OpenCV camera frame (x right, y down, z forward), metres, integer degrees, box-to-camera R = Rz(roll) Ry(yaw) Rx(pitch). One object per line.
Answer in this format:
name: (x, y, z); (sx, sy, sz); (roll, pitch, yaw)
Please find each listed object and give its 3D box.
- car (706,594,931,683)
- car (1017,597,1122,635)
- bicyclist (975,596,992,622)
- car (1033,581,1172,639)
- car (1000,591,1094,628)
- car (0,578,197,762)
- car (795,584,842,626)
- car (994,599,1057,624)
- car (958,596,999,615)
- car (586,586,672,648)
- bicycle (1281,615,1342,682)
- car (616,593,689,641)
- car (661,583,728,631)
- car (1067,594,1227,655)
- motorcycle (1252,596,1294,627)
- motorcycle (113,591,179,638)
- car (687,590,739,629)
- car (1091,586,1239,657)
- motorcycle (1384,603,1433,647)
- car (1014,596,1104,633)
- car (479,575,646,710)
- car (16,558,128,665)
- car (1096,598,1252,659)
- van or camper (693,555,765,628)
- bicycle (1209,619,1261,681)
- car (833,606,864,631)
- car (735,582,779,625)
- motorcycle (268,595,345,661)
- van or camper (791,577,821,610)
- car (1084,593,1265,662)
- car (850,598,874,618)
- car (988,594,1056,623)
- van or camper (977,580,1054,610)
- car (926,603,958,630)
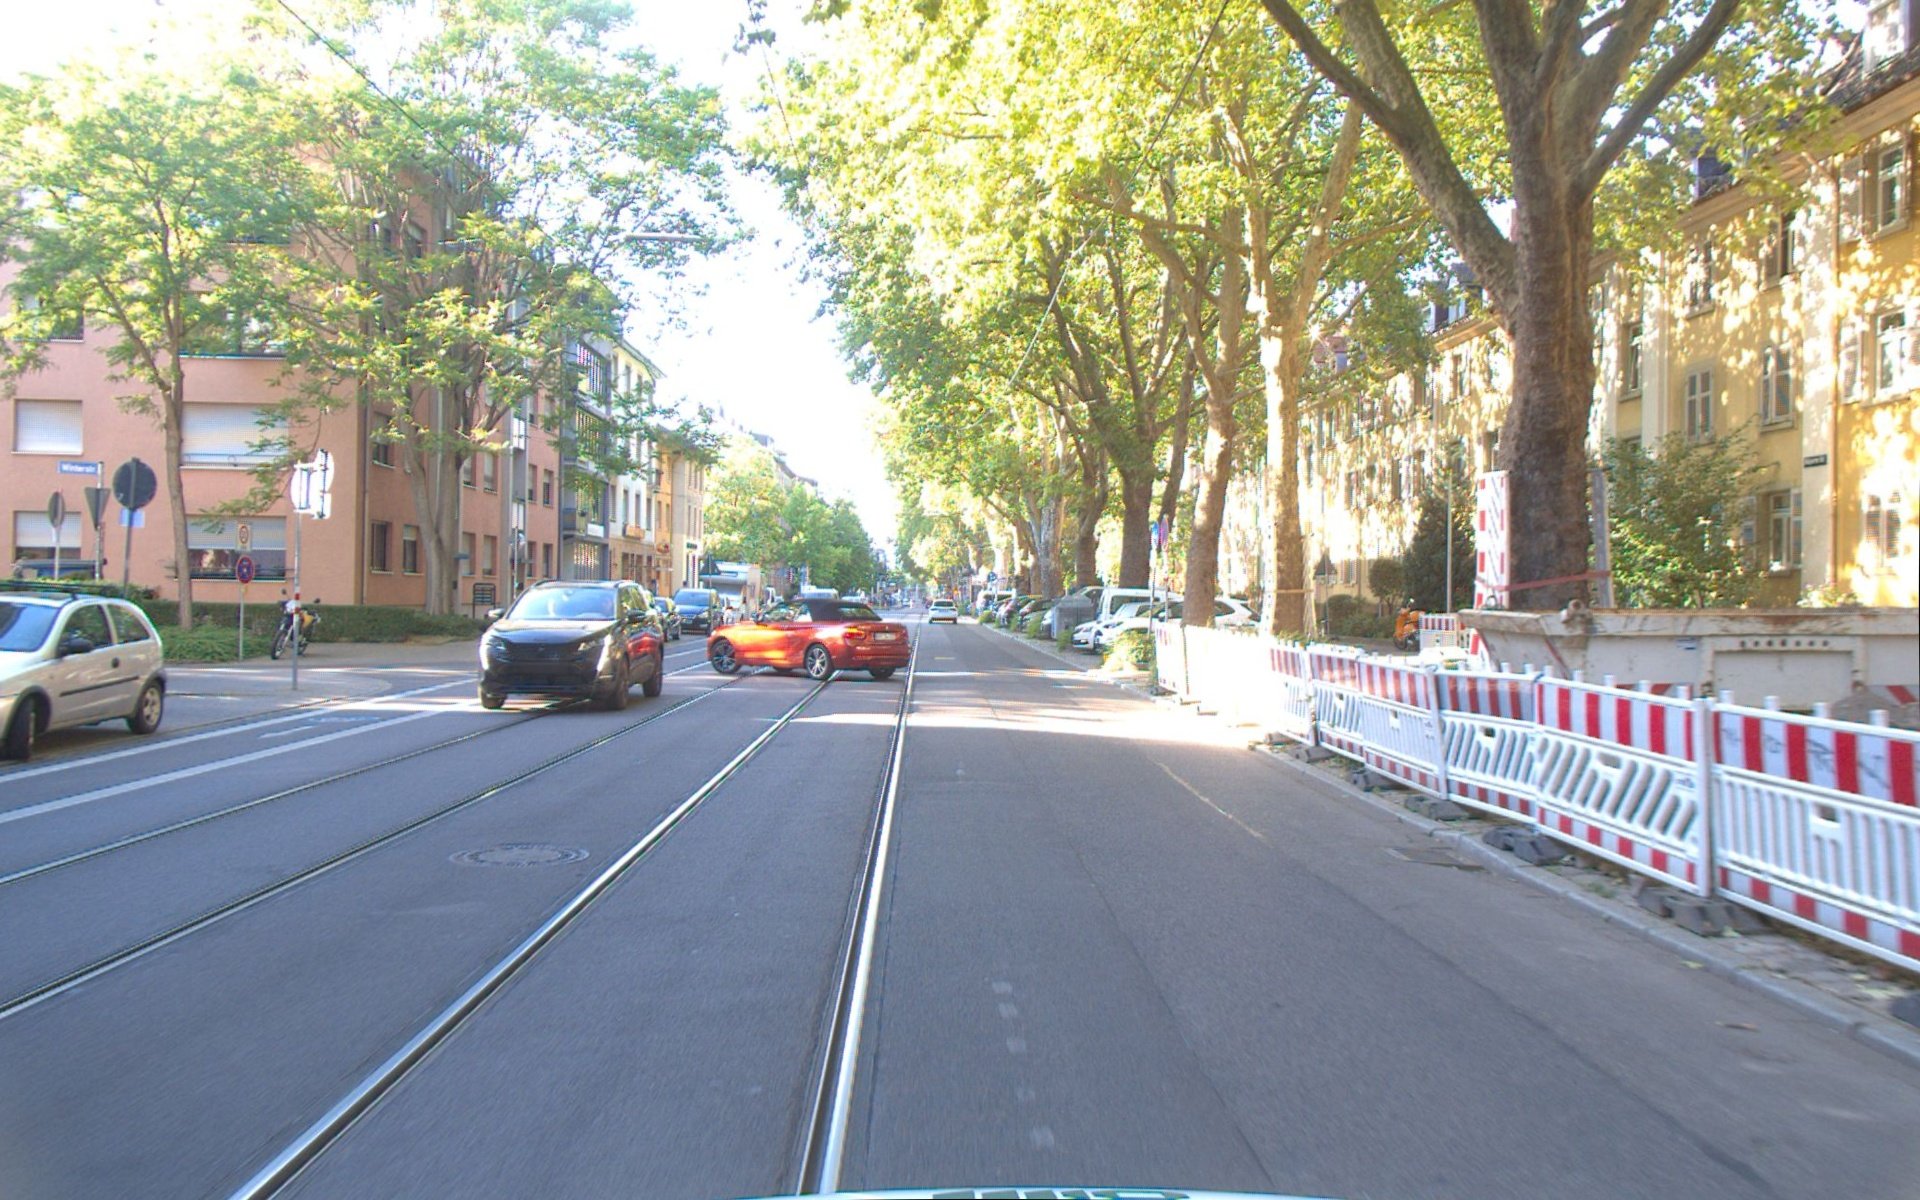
car: (-2.637, 0.653, 30.254); (4.163, 1.413, 1.787); (2, 1, 43)
car: (4.488, 0.655, 68.275); (4.161, 1.509, 1.897); (1, 0, -2)
bicyclist: (1.630, 0.624, 115.662); (1.027, 1.735, 1.055); (1, 0, -11)
car: (5.080, 0.347, 59.388); (4.740, 1.997, 2.063); (1, 0, -4)
car: (4.133, 0.439, 78.632); (4.402, 1.630, 2.028); (-1, 0, 2)
car: (-9.058, 0.577, 15.876); (1.691, 1.509, 3.928); (3, 0, -2)
car: (-6.566, 0.228, 77.076); (1.853, 1.864, 4.894); (1, 0, -2)
car: (3.818, 0.648, 96.539); (3.576, 1.402, 1.889); (1, 0, -1)
car: (1.821, 0.570, 162.817); (3.906, 1.816, 2.000); (1, 0, -1)
car: (-9.894, 0.477, 49.756); (1.745, 1.638, 4.586); (4, 0, -2)
bicycle: (6.505, 0.877, 30.713); (0.676, 1.174, 1.948); (1, 0, -1)
car: (-10.172, 0.537, 54.900); (1.703, 1.425, 4.381); (3, 0, -2)
car: (-10.314, 0.251, 64.515); (1.913, 1.716, 5.068); (3, 0, -2)
car: (5.147, 0.659, 45.920); (4.279, 1.569, 1.802); (1, 1, 2)
motorcycle: (14.473, 0.521, 76.427); (1.768, 1.385, 0.622); (-2, 0, -4)
motorcycle: (-20.739, 0.354, 42.175); (0.680, 1.149, 2.066); (1, 0, -2)
car: (-10.469, 0.384, 70.260); (1.676, 1.514, 3.860); (4, 0, -2)
car: (5.396, 0.554, 43.900); (3.764, 1.803, 1.917); (1, 0, 2)
motorcycle: (12.376, 0.667, 45.727); (0.700, 1.173, 2.263); (0, 0, -1)
car: (4.286, 0.619, 72.178); (3.760, 1.536, 1.710); (1, 0, -2)
car: (-5.243, 0.503, 22.310); (1.819, 1.628, 4.454); (1, 0, -9)
car: (-19.361, 0.242, 36.011); (1.972, 2.160, 4.677); (2, -1, -29)
car: (5.377, 0.715, 41.937); (3.764, 1.458, 1.852); (1, 0, 2)
van or camper: (-10.661, -0.367, 76.764); (2.290, 3.093, 6.396); (4, 0, 0)
bicycle: (5.121, 0.918, 30.904); (0.622, 1.089, 1.808); (1, 0, -1)
car: (-6.813, 1.111, 101.559); (1.740, 1.483, 4.201); (0, 0, -2)
car: (-10.937, 0.167, 89.429); (1.914, 2.127, 5.245); (4, 1, -3)
motorcycle: (-14.327, 0.595, 36.353); (0.884, 1.303, 2.347); (0, 2, -4)
van or camper: (-12.652, -0.525, 136.327); (2.037, 2.577, 5.316); (1, 0, -1)
car: (5.080, 0.653, 39.534); (4.006, 1.548, 1.915); (1, -1, -3)
car: (-7.403, 0.582, 125.091); (1.688, 1.462, 4.068); (-1, 0, -2)
car: (3.684, 0.503, 98.760); (3.845, 1.699, 1.960); (1, 0, -3)
van or camper: (4.117, -0.364, 122.820); (5.448, 2.048, 2.242); (1, 2, -6)
car: (-1.124, 0.980, 99.866); (1.879, 1.612, 3.790); (0, 0, -2)
